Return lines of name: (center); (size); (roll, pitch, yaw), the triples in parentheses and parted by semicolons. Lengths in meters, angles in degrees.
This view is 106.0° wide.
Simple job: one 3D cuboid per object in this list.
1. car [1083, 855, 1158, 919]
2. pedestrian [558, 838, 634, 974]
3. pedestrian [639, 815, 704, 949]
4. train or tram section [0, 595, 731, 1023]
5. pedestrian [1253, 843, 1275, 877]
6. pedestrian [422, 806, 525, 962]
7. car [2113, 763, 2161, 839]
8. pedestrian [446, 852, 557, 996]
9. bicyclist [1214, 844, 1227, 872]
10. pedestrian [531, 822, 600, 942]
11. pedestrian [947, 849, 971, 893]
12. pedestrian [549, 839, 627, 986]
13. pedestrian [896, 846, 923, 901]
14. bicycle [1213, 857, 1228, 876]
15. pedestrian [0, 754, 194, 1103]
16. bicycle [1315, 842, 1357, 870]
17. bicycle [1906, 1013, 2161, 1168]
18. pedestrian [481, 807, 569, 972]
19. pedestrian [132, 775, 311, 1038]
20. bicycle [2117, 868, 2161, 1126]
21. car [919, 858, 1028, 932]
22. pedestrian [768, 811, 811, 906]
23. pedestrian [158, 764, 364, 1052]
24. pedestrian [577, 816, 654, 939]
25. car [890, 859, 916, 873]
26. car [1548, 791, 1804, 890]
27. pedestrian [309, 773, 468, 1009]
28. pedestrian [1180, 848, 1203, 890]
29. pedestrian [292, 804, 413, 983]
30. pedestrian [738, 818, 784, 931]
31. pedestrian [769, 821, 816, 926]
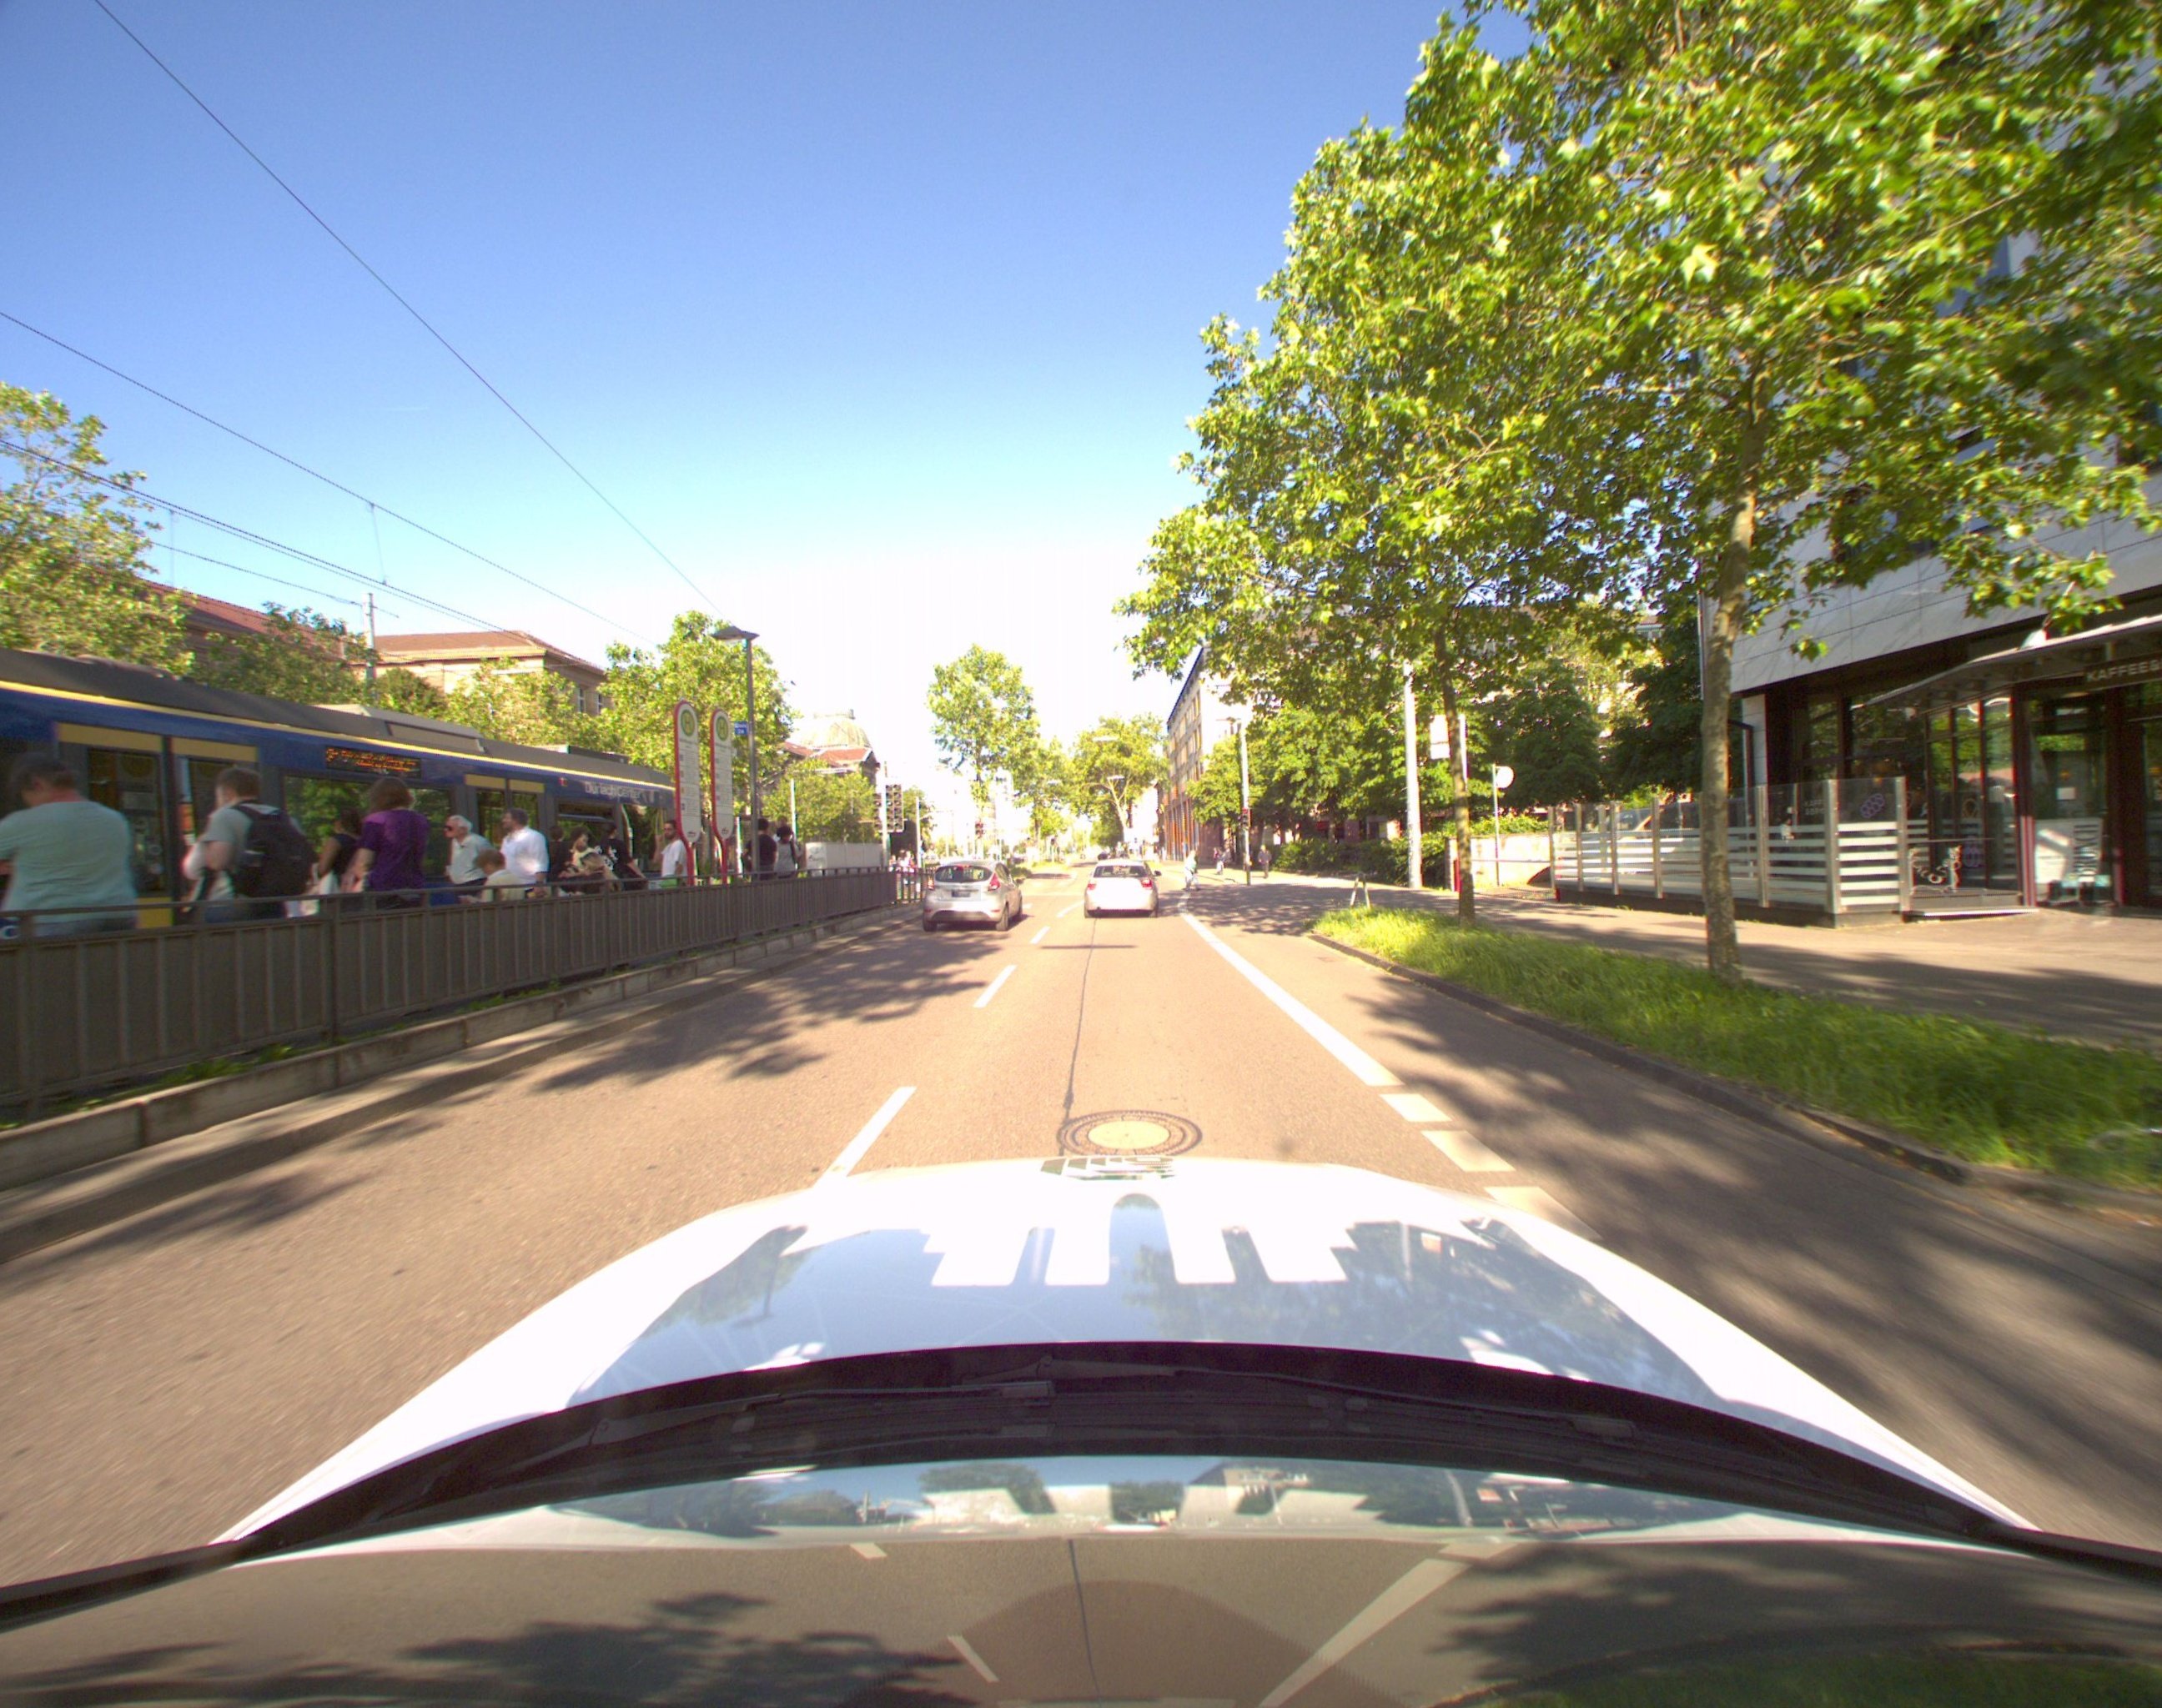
car: (1.075, 0.765, 20.840); (1.722, 1.390, 3.845); (-1, 1, 5)
pedestrian: (-4.918, 0.510, 8.272); (0.414, 1.316, 0.507); (-2, 0, 0)
pedestrian: (-5.425, 0.358, 10.809); (0.504, 1.702, 0.611); (-2, 0, -2)
train or tram section: (-9.514, -0.258, 11.754); (2.903, 3.260, 13.117); (0, -1, 2)
pedestrian: (8.834, 0.271, 39.341); (0.620, 1.629, 0.949); (-1, 0, 41)
pedestrian: (-6.743, 0.322, 9.068); (0.617, 1.649, 0.622); (-2, 0, -3)
car: (25.669, -1.263, 17.993); (3.596, 1.671, 1.595); (-3, 0, 1)
pedestrian: (-5.074, 0.591, 7.160); (0.543, 1.192, 0.531); (-2, 0, 1)
bicyclist: (8.308, 0.221, 48.538); (0.654, 1.657, 0.767); (-3, 0, 10)
pedestrian: (-7.549, 0.400, 11.942); (0.607, 1.702, 0.545); (-2, 0, -3)
pedestrian: (-4.670, 0.655, 31.172); (0.645, 1.619, 0.634); (0, -4, -44)
pedestrian: (-6.203, 0.713, 10.279); (0.551, 1.770, 0.611); (-2, 0, -3)
pedestrian: (-4.997, 0.557, 23.751); (0.629, 1.557, 0.646); (-2, 0, -3)
bicycle: (8.347, 0.751, 48.594); (0.826, 1.041, 1.880); (-3, 0, 10)
pedestrian: (-5.165, 0.357, 4.127); (0.658, 1.634, 0.571); (-2, 0, 2)
bicycle: (13.435, 0.101, 42.944); (1.987, 1.314, 0.574); (-4, 0, 4)
bicycle: (4.961, 0.997, 3.417); (1.602, 0.353, 1.389); (-2, 0, 1)
pedestrian: (-5.998, 0.366, 8.795); (0.500, 1.702, 0.615); (-3, 0, 39)
pedestrian: (-5.943, 0.342, 5.663); (0.513, 1.708, 0.621); (-2, 0, 1)
bicycle: (5.328, 0.623, 2.907); (0.788, 1.133, 1.839); (-2, 0, -11)
car: (-2.208, 0.812, 17.585); (1.653, 1.409, 3.635); (-1, 0, 3)
pedestrian: (-5.504, 0.081, 15.394); (0.546, 1.734, 0.539); (-2, 0, -3)
pedestrian: (-5.163, 0.323, 5.161); (0.658, 1.696, 0.571); (-2, 0, 2)
pedestrian: (-6.761, 0.330, 11.855); (0.631, 1.702, 0.746); (-2, 0, -2)
car: (-21.804, 1.456, 100.022); (1.984, 1.625, 4.006); (-2, 0, 5)
car: (14.762, -0.324, 20.415); (4.879, 1.984, 1.914); (-5, 0, 1)
pedestrian: (-5.270, 0.272, 6.230); (0.658, 1.696, 0.571); (-2, 0, 2)
pedestrian: (4.255, 0.580, 31.394); (0.824, 1.575, 0.741); (-1, -1, 9)
pedestrian: (-6.487, 0.335, 7.273); (0.543, 1.519, 0.531); (-2, 0, 1)
pedestrian: (-5.073, 0.318, 12.944); (0.548, 1.734, 0.537); (-2, 0, -14)
pedestrian: (-4.897, 0.318, 13.815); (0.552, 1.734, 0.533); (-2, 0, -39)
